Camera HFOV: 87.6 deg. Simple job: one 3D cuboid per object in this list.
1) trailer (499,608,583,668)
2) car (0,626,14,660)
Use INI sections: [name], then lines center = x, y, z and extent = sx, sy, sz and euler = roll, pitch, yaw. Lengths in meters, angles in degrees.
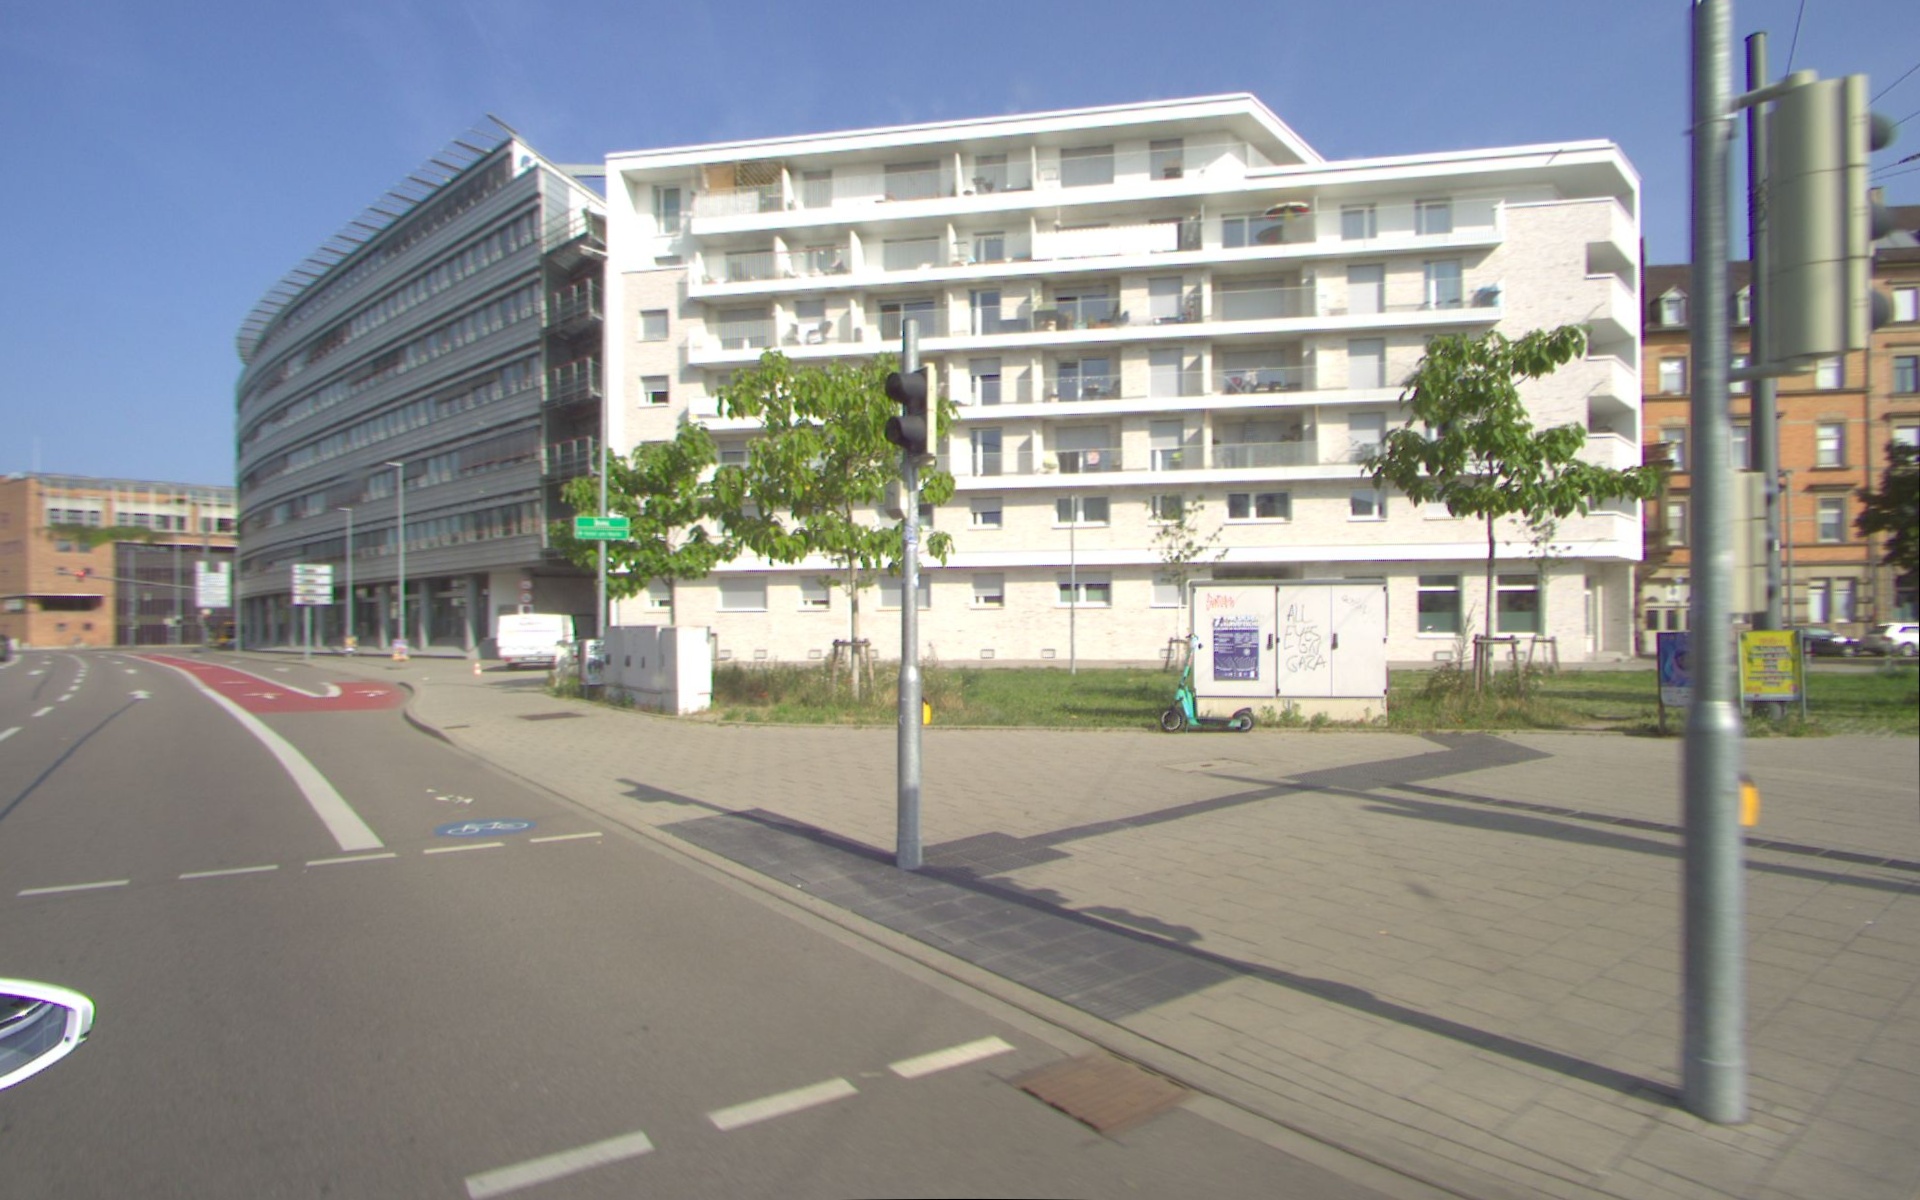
[trailer]
center = -16.500, 1.472, 39.780
extent = 2.354, 2.179, 5.941
euler = 0, -1, -16
[car]
center = -52.413, 2.351, 54.186
extent = 1.693, 1.777, 3.857
euler = 1, -3, -42
